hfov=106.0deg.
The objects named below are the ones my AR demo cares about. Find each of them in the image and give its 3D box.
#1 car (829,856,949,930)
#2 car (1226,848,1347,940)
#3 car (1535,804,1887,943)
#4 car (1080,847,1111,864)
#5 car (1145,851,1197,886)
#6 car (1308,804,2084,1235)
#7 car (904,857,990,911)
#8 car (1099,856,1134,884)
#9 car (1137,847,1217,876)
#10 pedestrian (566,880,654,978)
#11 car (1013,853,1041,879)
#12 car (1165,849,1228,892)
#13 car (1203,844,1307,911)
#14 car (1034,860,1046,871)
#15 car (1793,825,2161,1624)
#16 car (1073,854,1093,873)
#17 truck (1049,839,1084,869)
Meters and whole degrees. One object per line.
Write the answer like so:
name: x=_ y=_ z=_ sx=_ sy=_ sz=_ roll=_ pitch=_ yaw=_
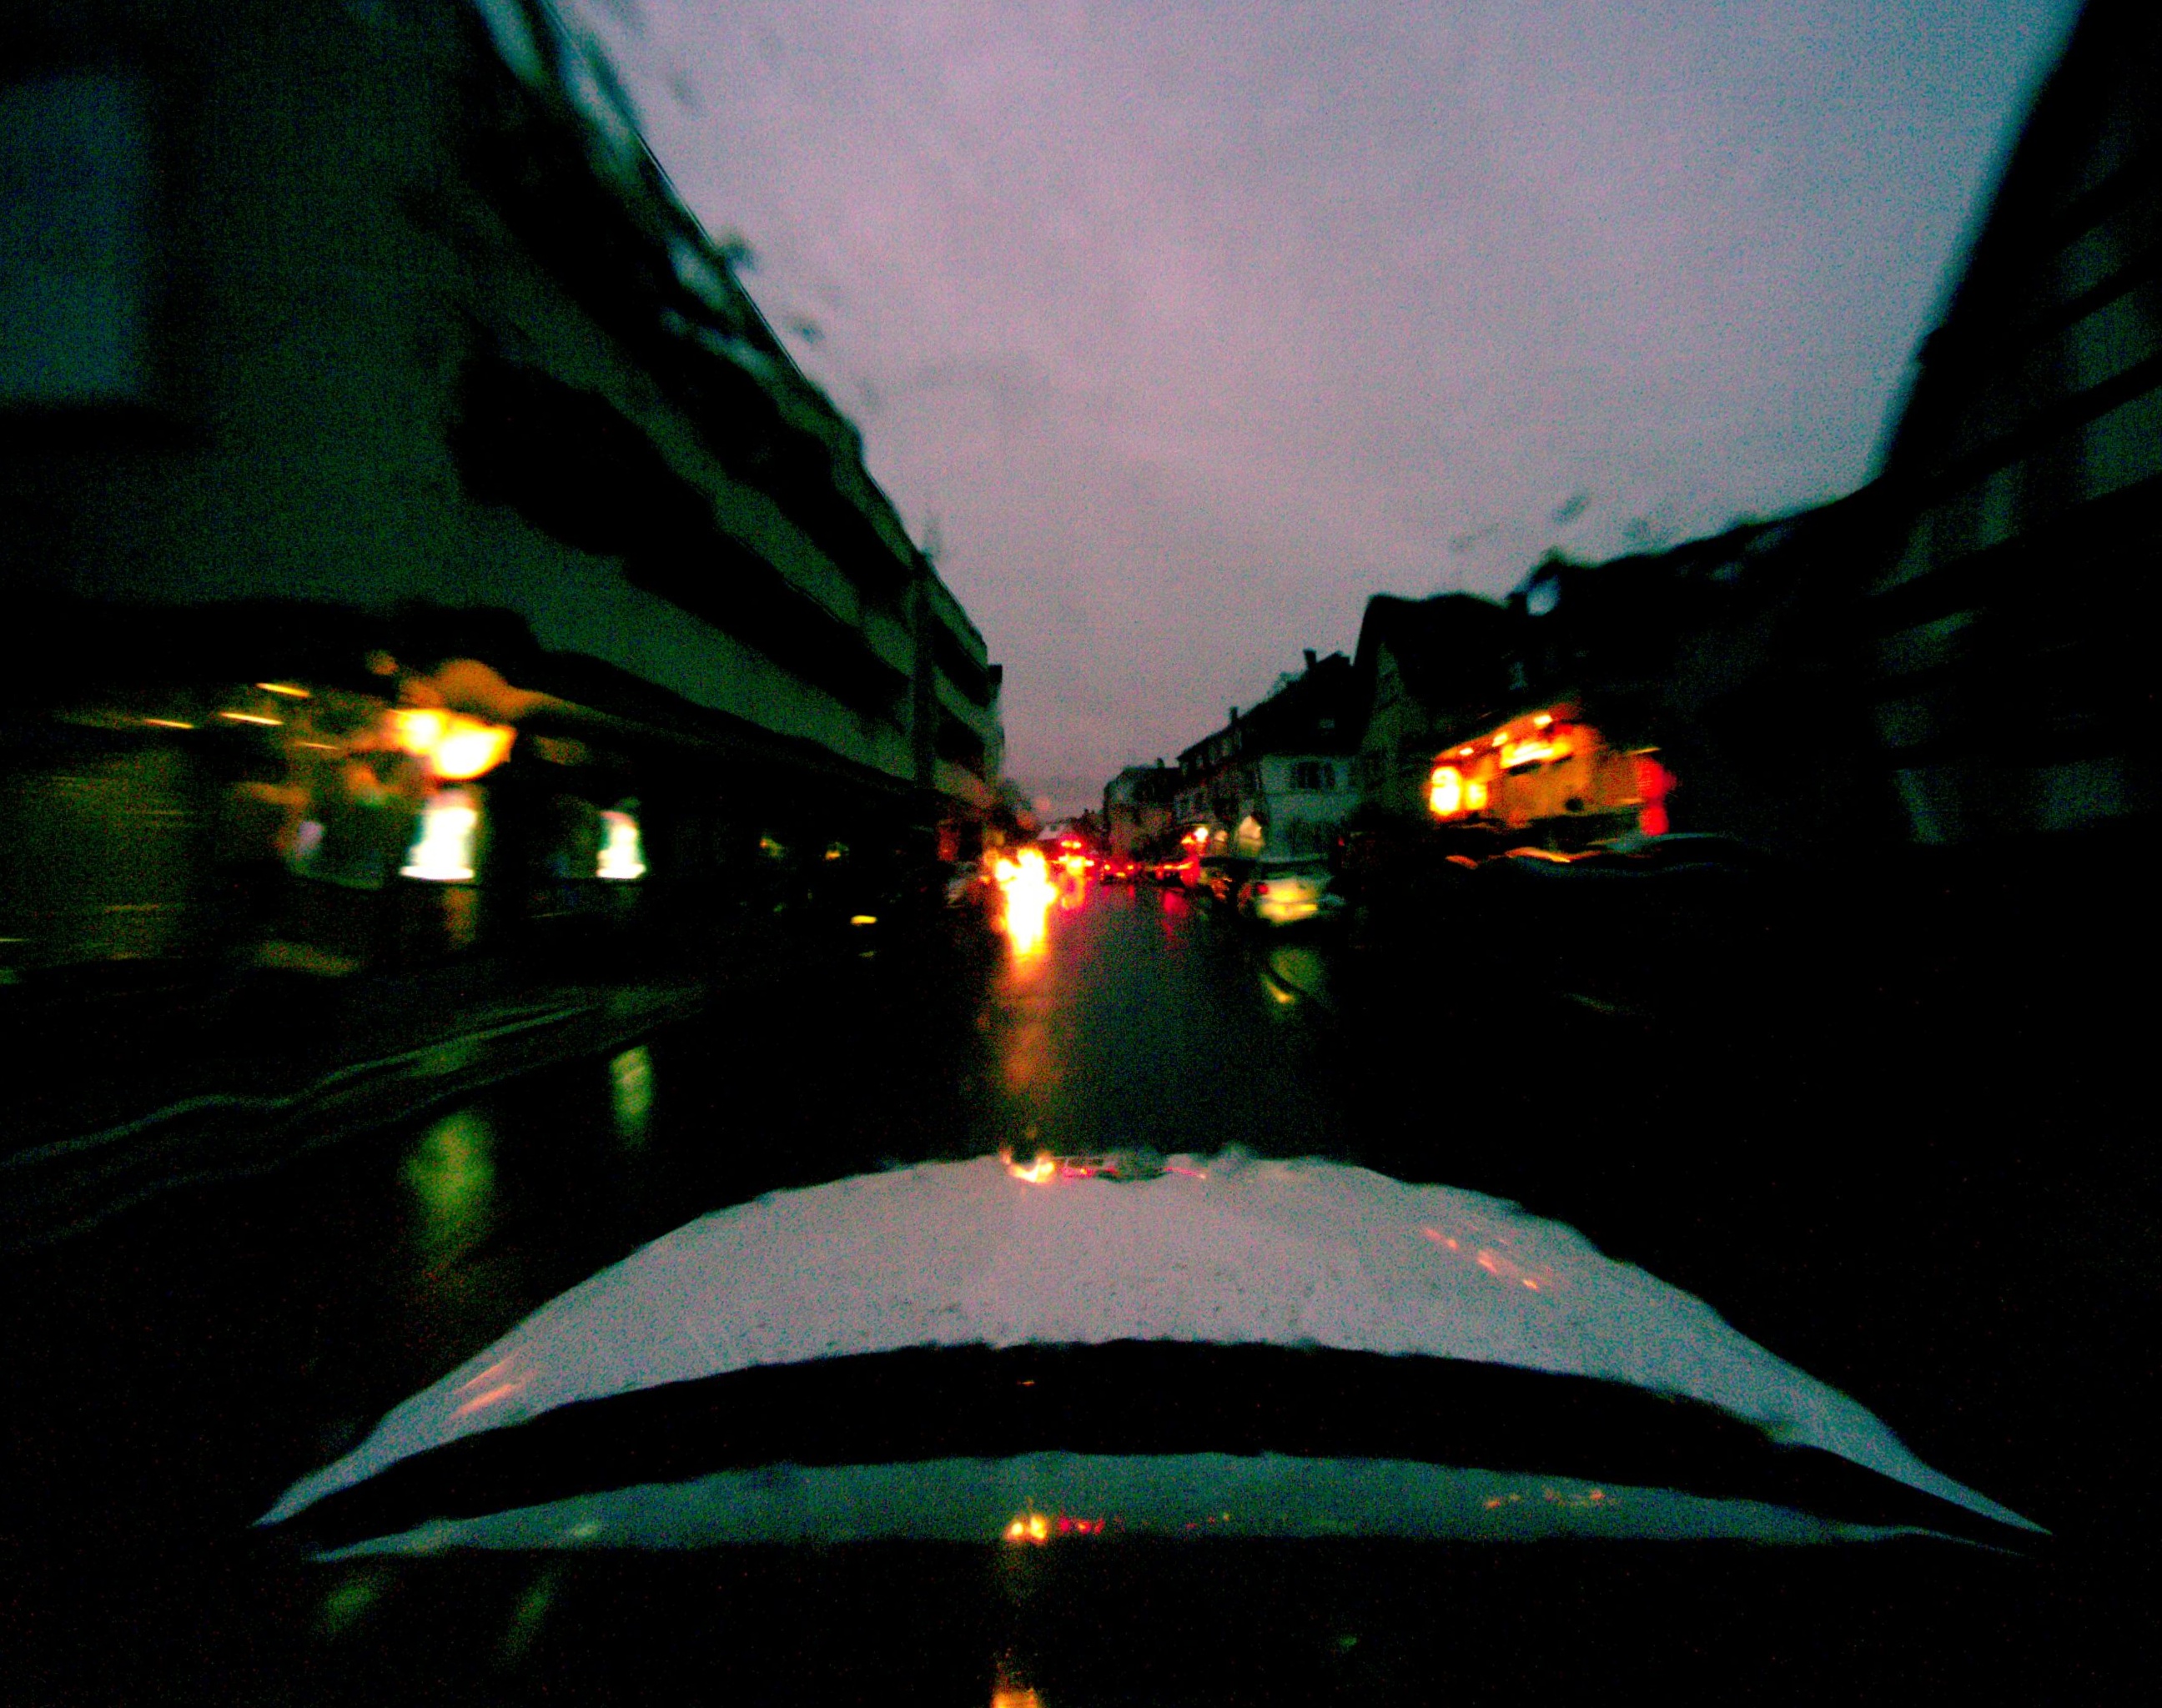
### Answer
car: x=-4.320 y=0.818 z=18.956 sx=1.608 sy=1.533 sz=3.932 roll=0 pitch=0 yaw=4
car: x=3.792 y=0.674 z=15.603 sx=1.618 sy=1.441 sz=3.805 roll=-4 pitch=0 yaw=5
car: x=8.212 y=0.249 z=10.871 sx=3.277 sy=1.441 sz=1.687 roll=-5 pitch=-1 yaw=2
car: x=1.991 y=0.212 z=111.003 sx=4.081 sy=2.163 sz=1.914 roll=-1 pitch=0 yaw=2
car: x=4.431 y=0.684 z=40.856 sx=1.877 sy=1.547 sz=4.667 roll=-3 pitch=0 yaw=-2
car: x=2.937 y=0.638 z=5.291 sx=1.757 sy=1.526 sz=4.392 roll=-4 pitch=0 yaw=2
car: x=-3.910 y=0.818 z=24.478 sx=1.669 sy=1.446 sz=4.430 roll=0 pitch=0 yaw=2
car: x=1.924 y=0.875 z=45.030 sx=1.634 sy=1.481 sz=3.375 roll=0 pitch=0 yaw=-3
car: x=5.746 y=0.440 z=49.204 sx=4.461 sy=1.473 sz=1.894 roll=-3 pitch=0 yaw=-6
pedestrian: x=-6.682 y=1.040 z=11.594 sx=0.752 sy=1.310 sz=0.829 roll=0 pitch=0 yaw=2
car: x=-3.640 y=0.802 z=54.529 sx=1.791 sy=1.642 sz=3.806 roll=0 pitch=0 yaw=-5
car: x=4.429 y=0.593 z=31.921 sx=1.788 sy=1.460 sz=4.531 roll=-3 pitch=0 yaw=0
car: x=4.379 y=0.552 z=21.212 sx=1.816 sy=1.423 sz=4.611 roll=-4 pitch=0 yaw=2
car: x=-6.214 y=1.697 z=123.364 sx=1.635 sy=1.535 sz=3.401 roll=-1 pitch=0 yaw=-5
car: x=2.752 y=0.654 z=0.213 sx=1.725 sy=1.459 sz=4.004 roll=-4 pitch=0 yaw=4
car: x=0.163 y=0.794 z=68.570 sx=1.633 sy=1.481 sz=3.269 roll=0 pitch=0 yaw=-1
truck: x=-1.704 y=0.008 z=91.287 sx=3.012 sy=3.128 sz=7.981 roll=-1 pitch=0 yaw=-7
